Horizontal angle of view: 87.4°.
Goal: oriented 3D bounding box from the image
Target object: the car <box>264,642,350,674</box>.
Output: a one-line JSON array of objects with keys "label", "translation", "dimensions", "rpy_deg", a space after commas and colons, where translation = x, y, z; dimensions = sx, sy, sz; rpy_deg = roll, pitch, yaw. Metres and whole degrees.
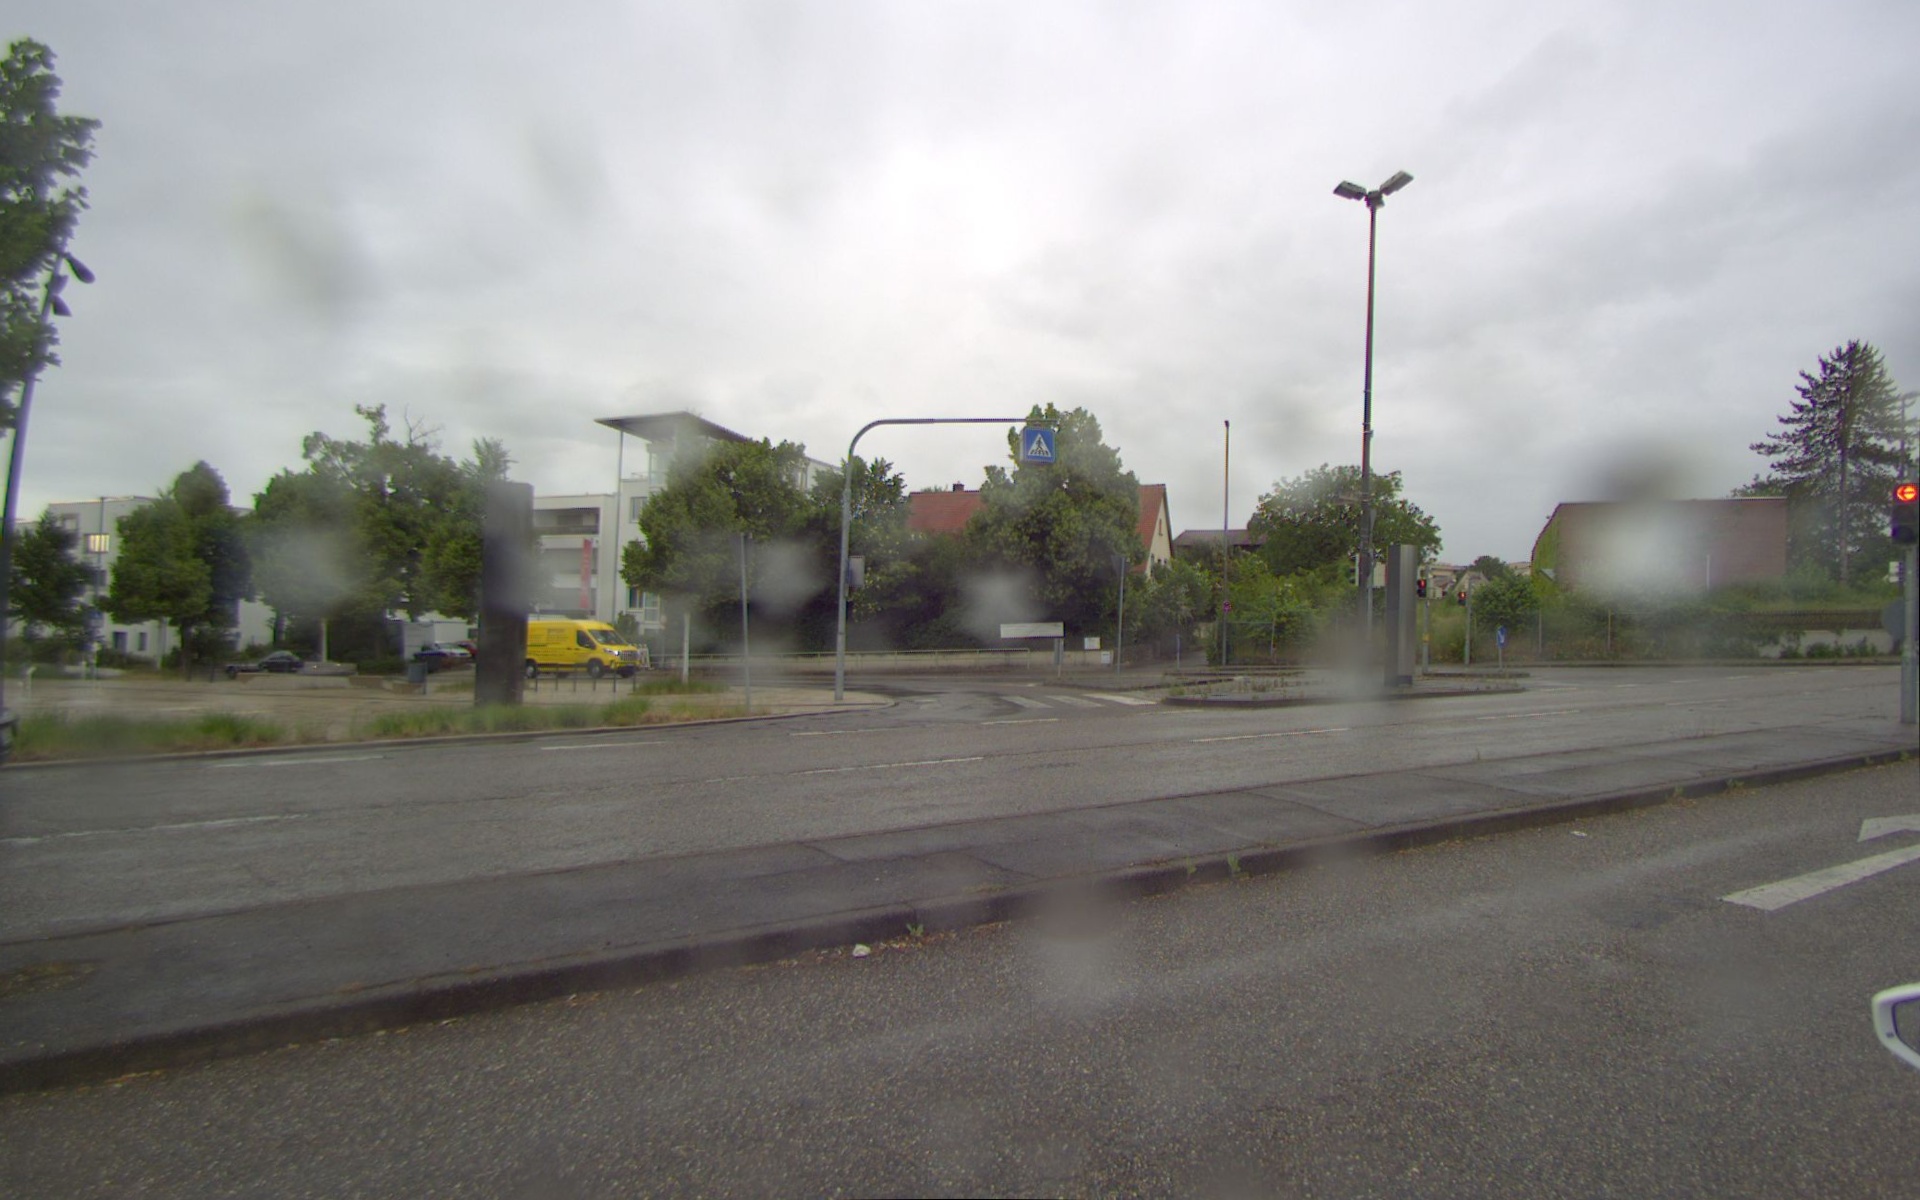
[{"label": "car", "translation": [-32.572, 2.900, 50.103], "dimensions": [3.929, 1.559, 1.997], "rpy_deg": [-2, -3, 29]}]

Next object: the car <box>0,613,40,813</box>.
[{"label": "car", "translation": [-8.932, 0.757, 6.476], "dimensions": [4.243, 1.408, 1.771], "rpy_deg": [2, -2, -38]}]

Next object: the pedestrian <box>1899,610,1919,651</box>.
[{"label": "pedestrian", "translation": [37.062, 1.186, 38.915], "dimensions": [0.816, 1.588, 0.756], "rpy_deg": [1, -3, -31]}]

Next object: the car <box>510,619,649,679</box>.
[{"label": "car", "translation": [-16.362, 2.142, 43.153], "dimensions": [5.804, 2.441, 1.999], "rpy_deg": [-2, -3, 23]}]
